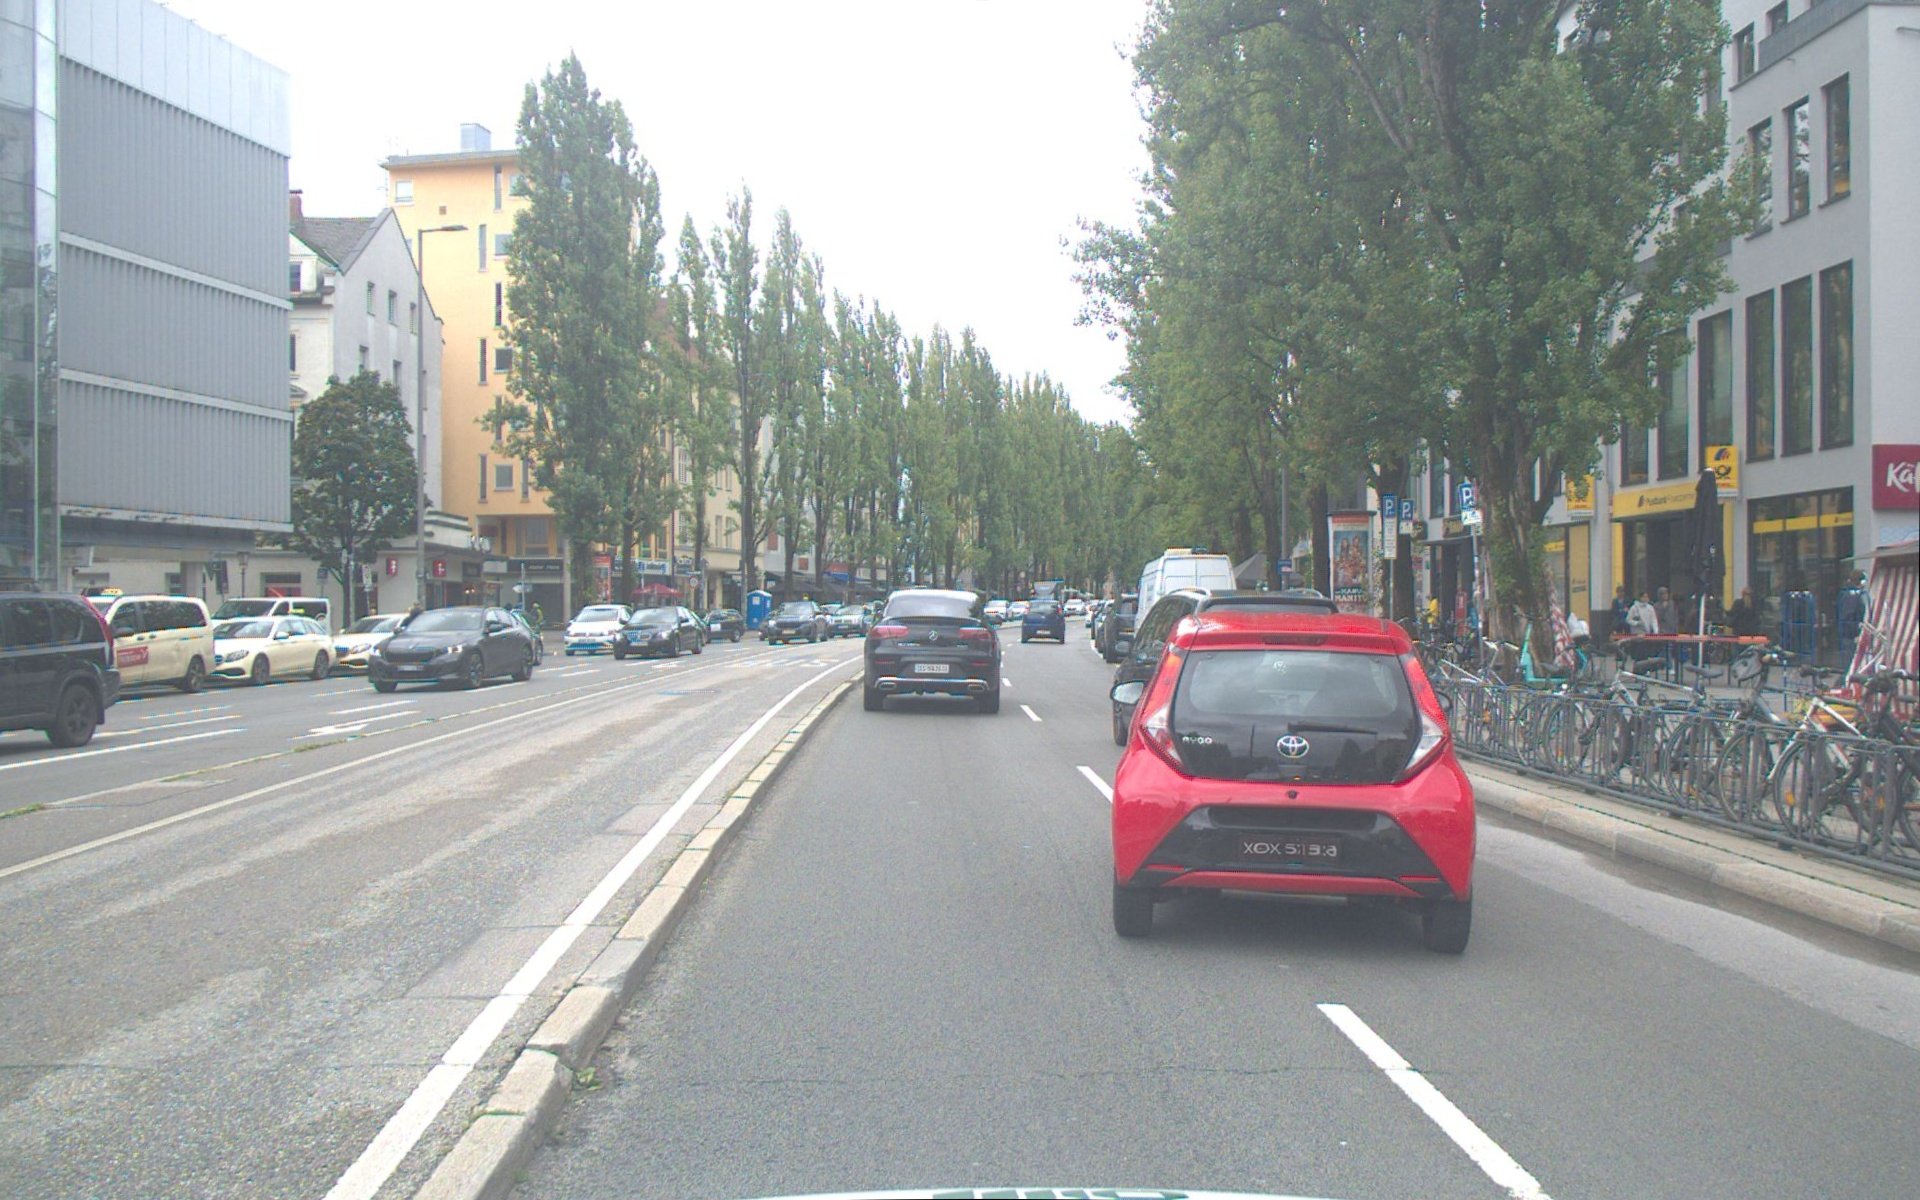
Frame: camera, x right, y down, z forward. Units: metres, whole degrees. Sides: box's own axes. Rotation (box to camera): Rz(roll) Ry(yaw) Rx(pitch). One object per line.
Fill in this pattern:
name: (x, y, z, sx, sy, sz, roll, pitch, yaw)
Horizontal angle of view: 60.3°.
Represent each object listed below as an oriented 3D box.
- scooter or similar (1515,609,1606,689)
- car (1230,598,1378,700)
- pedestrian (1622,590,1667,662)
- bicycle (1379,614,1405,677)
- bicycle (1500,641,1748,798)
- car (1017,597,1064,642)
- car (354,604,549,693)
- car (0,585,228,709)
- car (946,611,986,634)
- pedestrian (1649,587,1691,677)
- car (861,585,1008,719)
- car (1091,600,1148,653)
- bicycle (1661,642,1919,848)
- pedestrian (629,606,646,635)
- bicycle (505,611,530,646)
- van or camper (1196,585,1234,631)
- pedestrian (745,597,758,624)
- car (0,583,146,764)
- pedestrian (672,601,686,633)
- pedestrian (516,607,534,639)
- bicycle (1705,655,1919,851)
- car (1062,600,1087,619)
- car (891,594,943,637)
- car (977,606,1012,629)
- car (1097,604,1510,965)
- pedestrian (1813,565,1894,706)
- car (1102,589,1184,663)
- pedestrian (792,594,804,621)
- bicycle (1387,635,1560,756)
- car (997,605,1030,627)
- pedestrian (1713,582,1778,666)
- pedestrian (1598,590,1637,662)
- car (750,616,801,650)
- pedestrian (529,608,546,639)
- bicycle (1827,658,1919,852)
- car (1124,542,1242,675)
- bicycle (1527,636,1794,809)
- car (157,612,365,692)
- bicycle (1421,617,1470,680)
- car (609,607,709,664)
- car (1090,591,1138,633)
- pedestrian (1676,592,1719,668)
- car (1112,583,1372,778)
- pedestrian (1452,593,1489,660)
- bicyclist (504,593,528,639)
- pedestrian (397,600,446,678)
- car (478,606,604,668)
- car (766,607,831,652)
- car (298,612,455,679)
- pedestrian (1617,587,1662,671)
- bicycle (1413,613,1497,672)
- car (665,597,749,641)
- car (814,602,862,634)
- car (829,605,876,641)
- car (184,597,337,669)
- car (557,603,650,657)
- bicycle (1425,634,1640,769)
scooter or similar: (9.641, 0.780, 26.562, 1.443, 1.228, 0.398, -1, 0, -20)
car: (5.508, 0.736, 26.925, 1.689, 1.479, 4.149, 2, 0, 3)
pedestrian: (15.450, 0.577, 37.337, 0.677, 1.613, 0.772, -1, 0, -2)
bicycle: (8.469, 0.879, 32.423, 0.467, 1.180, 1.826, 0, 0, 15)
bicycle: (5.312, 0.931, 13.306, 1.767, 1.072, 0.366, 4, 1, 37)
car: (3.110, 0.762, 63.490, 1.722, 1.648, 3.748, 1, -1, 3)
car: (-9.668, 0.872, 31.912, 1.952, 1.534, 5.024, -1, 0, 3)
car: (-15.796, 0.813, 30.635, 1.952, 2.049, 5.322, -2, 0, 1)
car: (0.406, 1.437, 106.999, 1.761, 1.419, 4.694, -1, 0, 11)
pedestrian: (13.889, 0.616, 32.361, 0.567, 1.731, 0.597, -1, 0, 6)
car: (-0.347, 0.666, 23.353, 1.842, 1.670, 4.582, -1, 0, -1)
car: (5.357, 0.856, 56.017, 1.691, 1.716, 4.409, 0, 0, 2)
bicycle: (5.465, 0.895, 10.476, 1.767, 1.124, 0.544, 4, 1, 37)
pedestrian: (-17.542, 1.112, 89.904, 0.620, 1.589, 0.816, -1, 0, 13)
bicycle: (-15.832, 1.004, 59.137, 0.360, 1.222, 1.155, -1, 0, 12)
van or camper: (18.378, 0.579, 119.126, 2.407, 3.166, 4.719, -1, 0, 12)
pedestrian: (-13.660, 0.687, 108.276, 0.624, 1.729, 0.648, -1, 0, 11)
car: (-10.543, 0.748, 16.826, 1.951, 1.809, 4.602, -1, 0, 5)
pedestrian: (-16.156, 0.973, 95.062, 0.527, 1.777, 0.756, 0, 0, 11)
pedestrian: (-20.608, 1.082, 78.371, 0.620, 1.460, 0.778, -1, 0, -2)
bicycle: (5.430, 0.909, 9.809, 1.770, 1.028, 0.384, 4, 2, 42)
car: (11.311, 0.918, 162.913, 1.820, 1.741, 4.540, -2, 0, 11)
car: (-2.744, 0.954, 106.132, 2.123, 2.651, 6.069, -1, 0, 10)
car: (2.518, 1.273, 120.583, 1.869, 1.631, 4.359, -1, 0, 10)
car: (1.581, 0.789, 8.715, 1.630, 1.471, 3.597, 1, -1, 4)
pedestrian: (11.866, 0.467, 21.970, 0.776, 1.827, 0.572, 1, -1, 5)
car: (4.841, 0.662, 44.255, 1.889, 1.836, 4.781, 1, 0, 3)
pedestrian: (-11.453, 0.541, 117.011, 0.624, 1.894, 0.648, -1, 0, 11)
bicycle: (5.193, 0.942, 16.772, 1.545, 1.072, 0.544, 4, 1, 37)
car: (4.239, 1.262, 129.649, 1.951, 1.616, 5.199, -2, 0, 9)
pedestrian: (15.790, 0.478, 33.261, 0.783, 1.665, 1.023, -1, 0, -2)
pedestrian: (15.616, 0.604, 39.294, 0.676, 1.678, 0.799, -1, 0, 7)
car: (-8.785, 1.552, 78.995, 1.746, 1.491, 4.002, -1, 0, 4)
pedestrian: (-20.001, 1.092, 78.351, 0.620, 1.460, 0.778, -1, 0, -2)
bicycle: (5.781, 0.906, 9.036, 1.767, 1.028, 0.384, 4, 1, 37)
car: (5.011, 0.209, 37.843, 1.952, 2.789, 5.554, 1, -1, 0)
bicycle: (5.362, 0.902, 12.721, 1.767, 1.124, 0.544, 4, 1, 37)
car: (-15.272, 1.094, 36.496, 1.935, 1.579, 5.089, -1, 0, 7)
bicycle: (9.531, 0.934, 32.513, 0.468, 1.180, 1.633, 0, 0, -1)
car: (-8.634, 0.983, 47.771, 1.797, 1.513, 4.736, -1, 0, 3)
car: (6.786, 0.542, 72.519, 1.884, 1.730, 4.653, 1, -1, 7)
pedestrian: (14.762, 0.601, 33.085, 0.636, 1.502, 0.757, 0, -1, 37)
car: (2.585, 0.688, 16.109, 1.725, 1.642, 4.182, 0, 0, -2)
pedestrian: (13.545, 0.710, 43.870, 0.707, 1.755, 0.737, -2, -1, 36)
bicyclist: (-15.863, 0.581, 59.116, 0.491, 1.620, 0.835, -1, 0, 11)
pedestrian: (-13.399, 0.963, 41.156, 0.771, 1.900, 0.845, -1, 0, 29)
car: (-11.526, 0.977, 45.871, 1.918, 1.573, 4.950, -1, 0, 4)
car: (-6.267, 1.120, 64.676, 1.952, 1.649, 4.414, -2, 0, 2)
car: (-14.638, 1.103, 41.808, 1.818, 1.495, 4.985, -3, 0, 5)
pedestrian: (13.255, 0.569, 32.282, 0.628, 1.611, 0.635, -1, 0, 6)
bicycle: (10.110, 0.863, 33.852, 1.593, 1.180, 0.705, 0, 0, 12)
car: (-10.854, 0.825, 71.136, 1.721, 1.848, 3.998, 1, -1, 23)
car: (-6.445, 0.949, 87.566, 1.912, 1.617, 4.002, -1, 0, 5)
car: (-5.128, 1.070, 79.318, 1.779, 1.572, 4.001, -3, 0, 2)
car: (-21.203, 0.953, 50.400, 1.951, 2.049, 5.116, -1, 0, 7)
car: (-11.481, 0.931, 53.506, 1.952, 1.628, 4.290, -1, 0, 2)
bicycle: (5.315, 0.913, 15.418, 1.767, 1.072, 0.544, 4, 1, 37)
